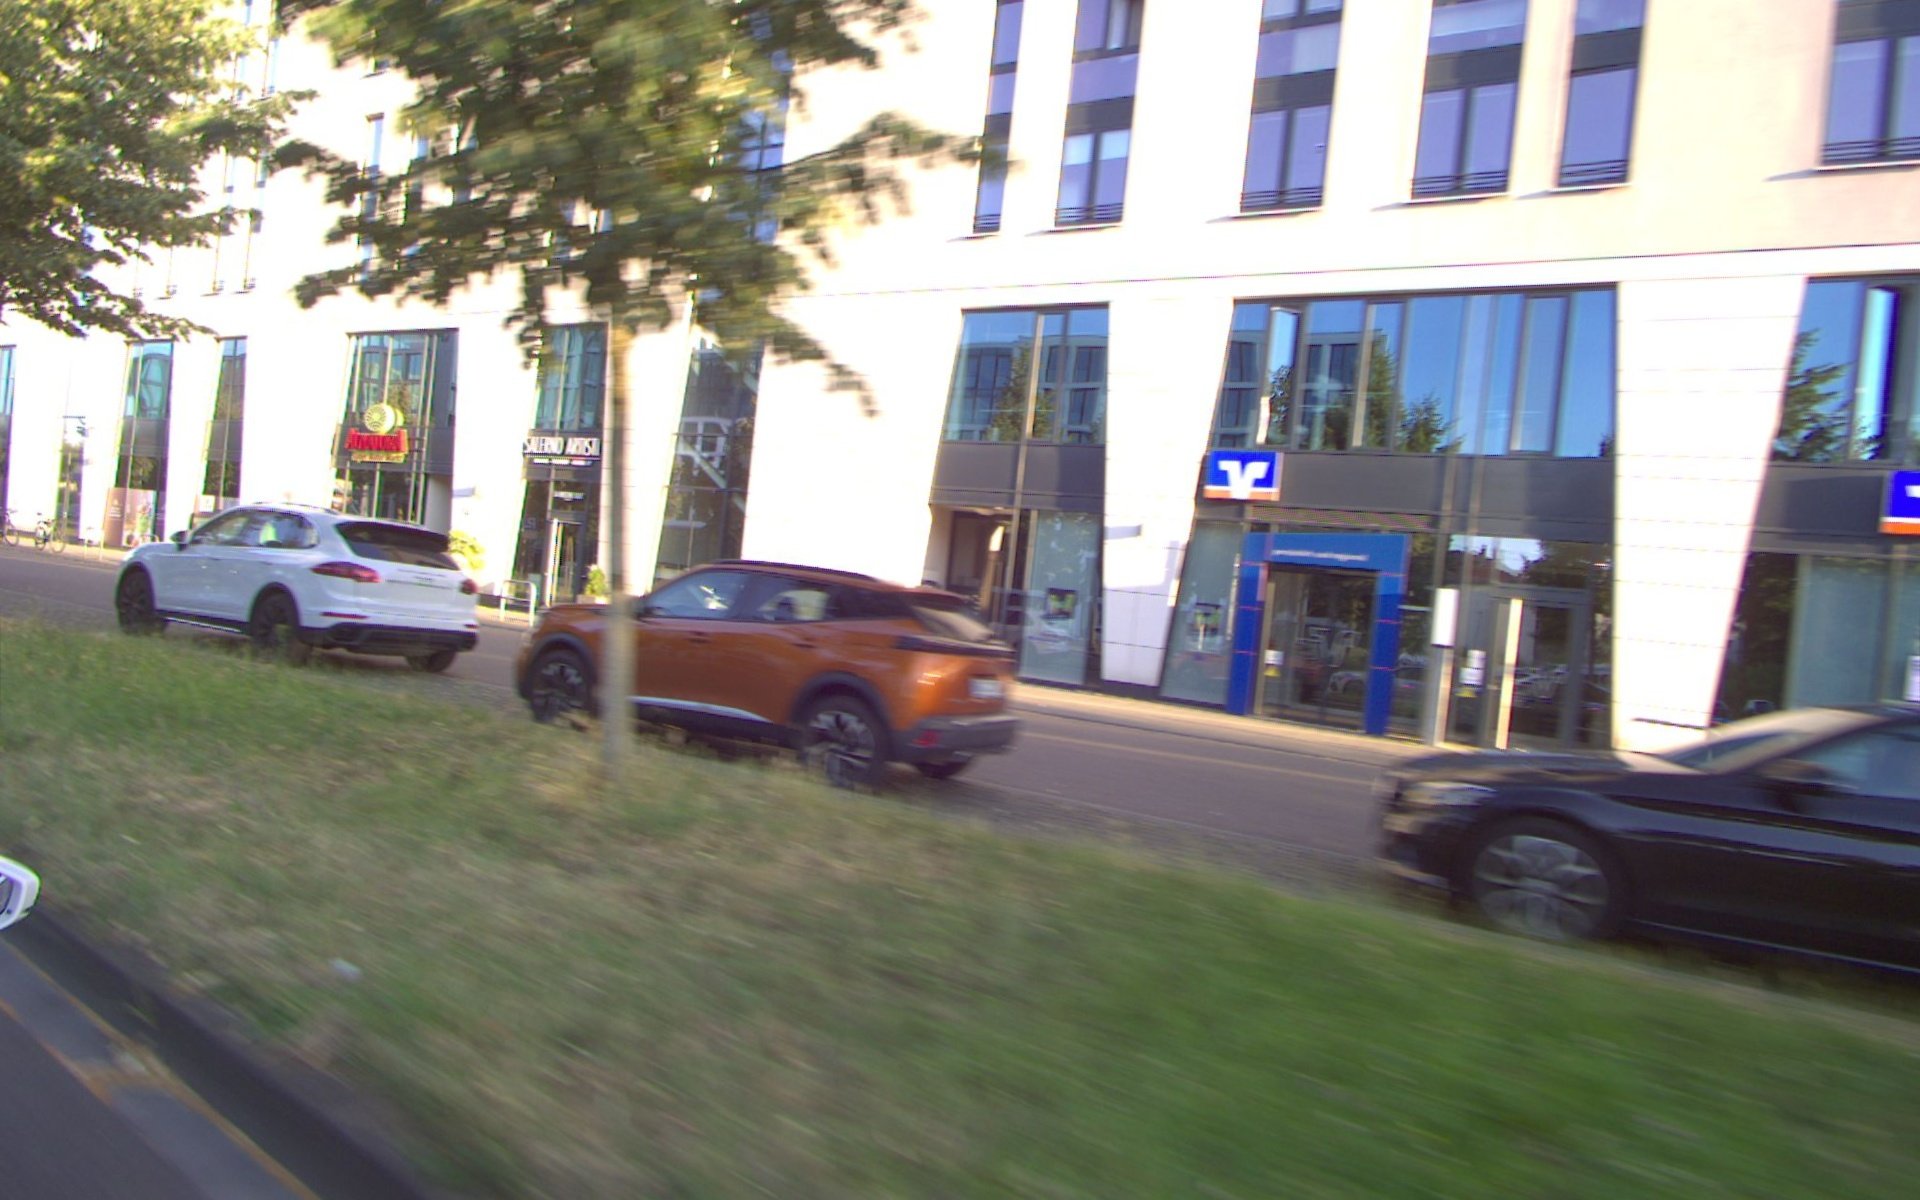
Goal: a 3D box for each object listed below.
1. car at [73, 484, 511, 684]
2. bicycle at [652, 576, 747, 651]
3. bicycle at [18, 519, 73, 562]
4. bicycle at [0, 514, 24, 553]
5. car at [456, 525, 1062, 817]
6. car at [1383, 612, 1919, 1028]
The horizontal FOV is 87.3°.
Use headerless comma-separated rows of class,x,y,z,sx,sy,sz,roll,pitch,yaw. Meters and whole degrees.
car,-7.894,-0.216,11.783,5.069,1.734,1.956,6,-2,28
bicycle,-4.615,0.230,17.748,1.806,1.139,0.570,7,3,38
bicycle,-25.874,-1.697,28.450,1.926,1.075,0.518,6,2,28
bicycle,-28.382,-1.991,29.794,1.744,1.087,0.446,6,2,31
car,-1.646,0.446,8.039,4.403,1.547,1.860,6,-2,26
car,4.775,1.118,5.053,4.725,1.568,1.948,6,0,24
